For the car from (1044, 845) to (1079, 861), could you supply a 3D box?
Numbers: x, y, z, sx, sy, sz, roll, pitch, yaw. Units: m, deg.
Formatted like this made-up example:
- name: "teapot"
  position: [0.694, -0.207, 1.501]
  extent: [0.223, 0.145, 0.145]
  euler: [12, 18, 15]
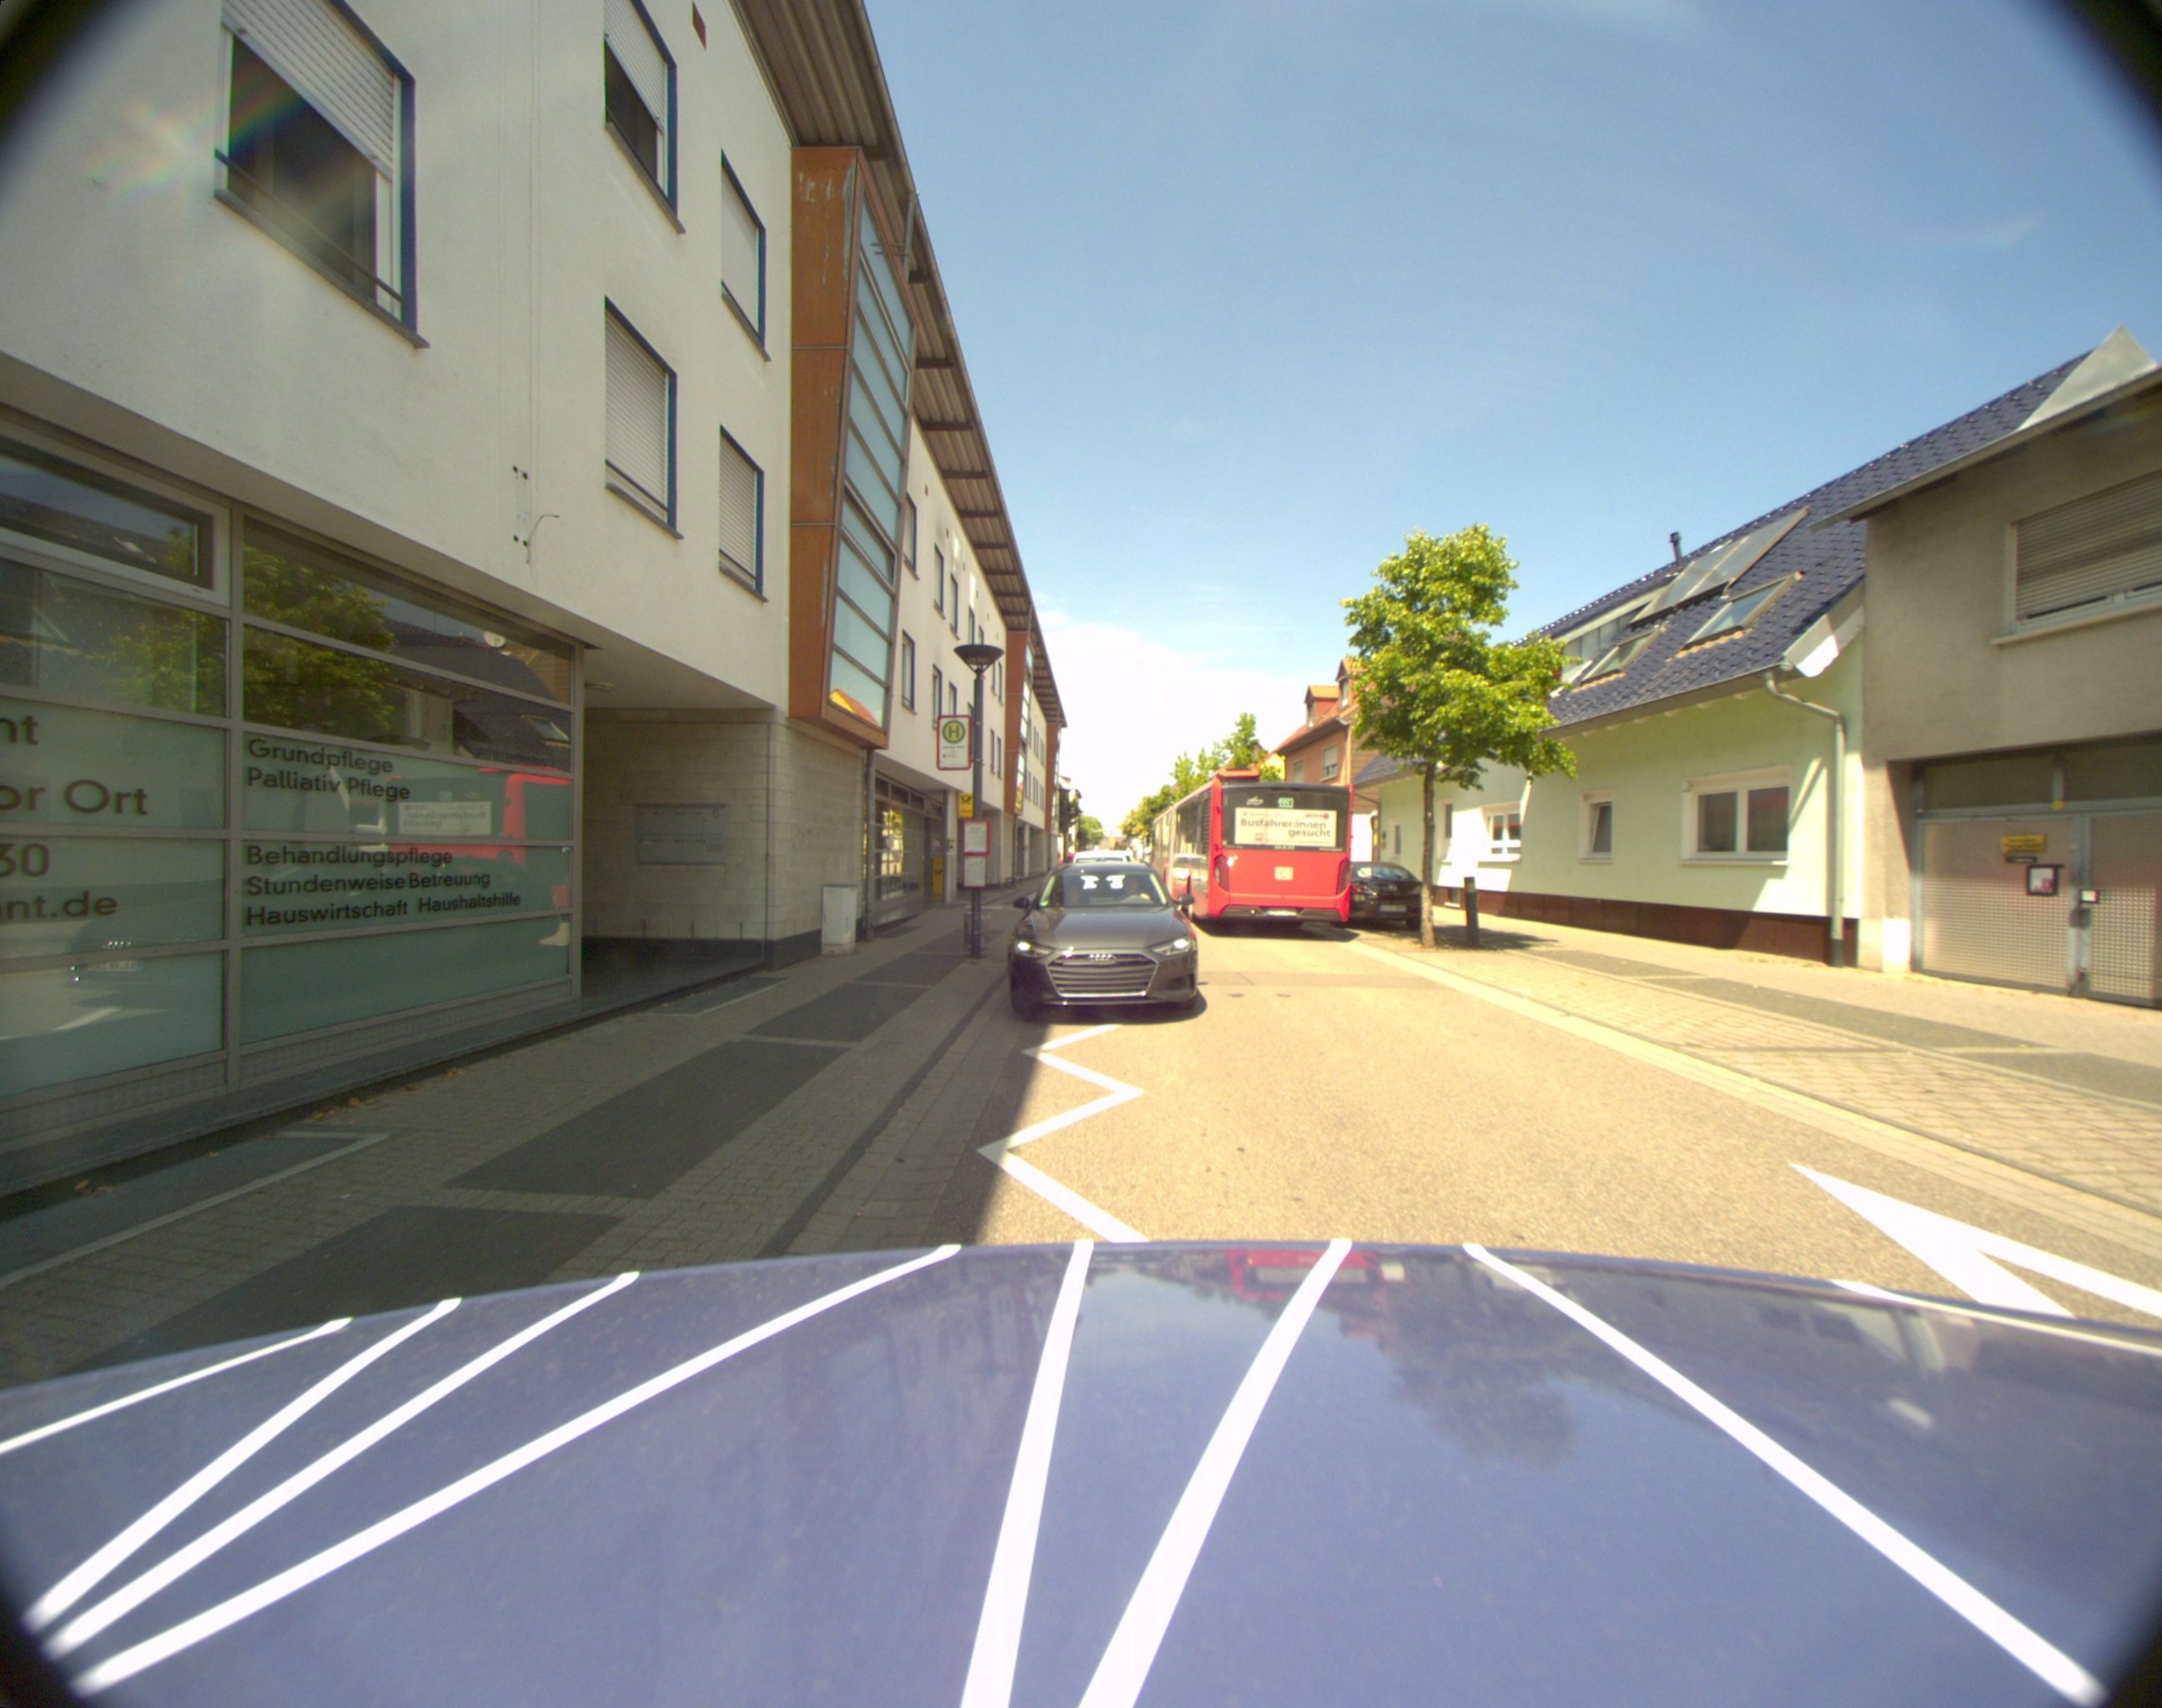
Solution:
- name: "car"
  position: [-2.407, -0.110, 94.766]
  extent: [4.203, 1.849, 2.000]
  euler: [1, 1, 1]

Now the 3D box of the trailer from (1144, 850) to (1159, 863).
- name: "trailer"
  position: [9.087, 0.285, 97.759]
  extent: [1.493, 1.571, 3.883]
  euler: [-2, 0, 0]

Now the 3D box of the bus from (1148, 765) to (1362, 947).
- name: "bus"
  position: [3.809, -0.013, 22.156]
  extent: [2.675, 3.105, 17.807]
  euler: [1, 0, 2]

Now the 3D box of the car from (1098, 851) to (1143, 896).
- name: "car"
  position: [1.484, 0.694, 29.361]
  extent: [1.581, 1.620, 4.065]
  euler: [1, 0, 2]

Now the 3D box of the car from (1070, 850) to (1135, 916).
- name: "car"
  position: [0.578, 0.706, 20.780]
  extent: [1.581, 1.620, 4.065]
  euler: [1, 0, 2]

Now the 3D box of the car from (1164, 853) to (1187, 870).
- name: "car"
  position: [8.095, 0.637, 65.413]
  extent: [1.660, 1.399, 4.158]
  euler: [1, 0, 2]

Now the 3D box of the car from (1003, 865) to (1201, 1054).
- name: "car"
  position: [0.226, 0.893, 8.213]
  extent: [1.581, 1.424, 4.065]
  euler: [-1, 0, 2]

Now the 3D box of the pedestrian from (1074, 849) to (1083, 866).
- name: "pedestrian"
  position: [-0.244, 0.354, 76.424]
  extent: [0.825, 1.579, 0.919]
  euler: [3, 1, 2]

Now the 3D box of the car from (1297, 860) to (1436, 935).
- name: "car"
  position: [6.341, 0.889, 17.456]
  extent: [1.664, 1.428, 4.539]
  euler: [0, 0, 3]

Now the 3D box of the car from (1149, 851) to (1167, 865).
- name: "car"
  position: [8.623, 0.420, 85.390]
  extent: [1.753, 1.566, 4.158]
  euler: [0, 0, 2]
